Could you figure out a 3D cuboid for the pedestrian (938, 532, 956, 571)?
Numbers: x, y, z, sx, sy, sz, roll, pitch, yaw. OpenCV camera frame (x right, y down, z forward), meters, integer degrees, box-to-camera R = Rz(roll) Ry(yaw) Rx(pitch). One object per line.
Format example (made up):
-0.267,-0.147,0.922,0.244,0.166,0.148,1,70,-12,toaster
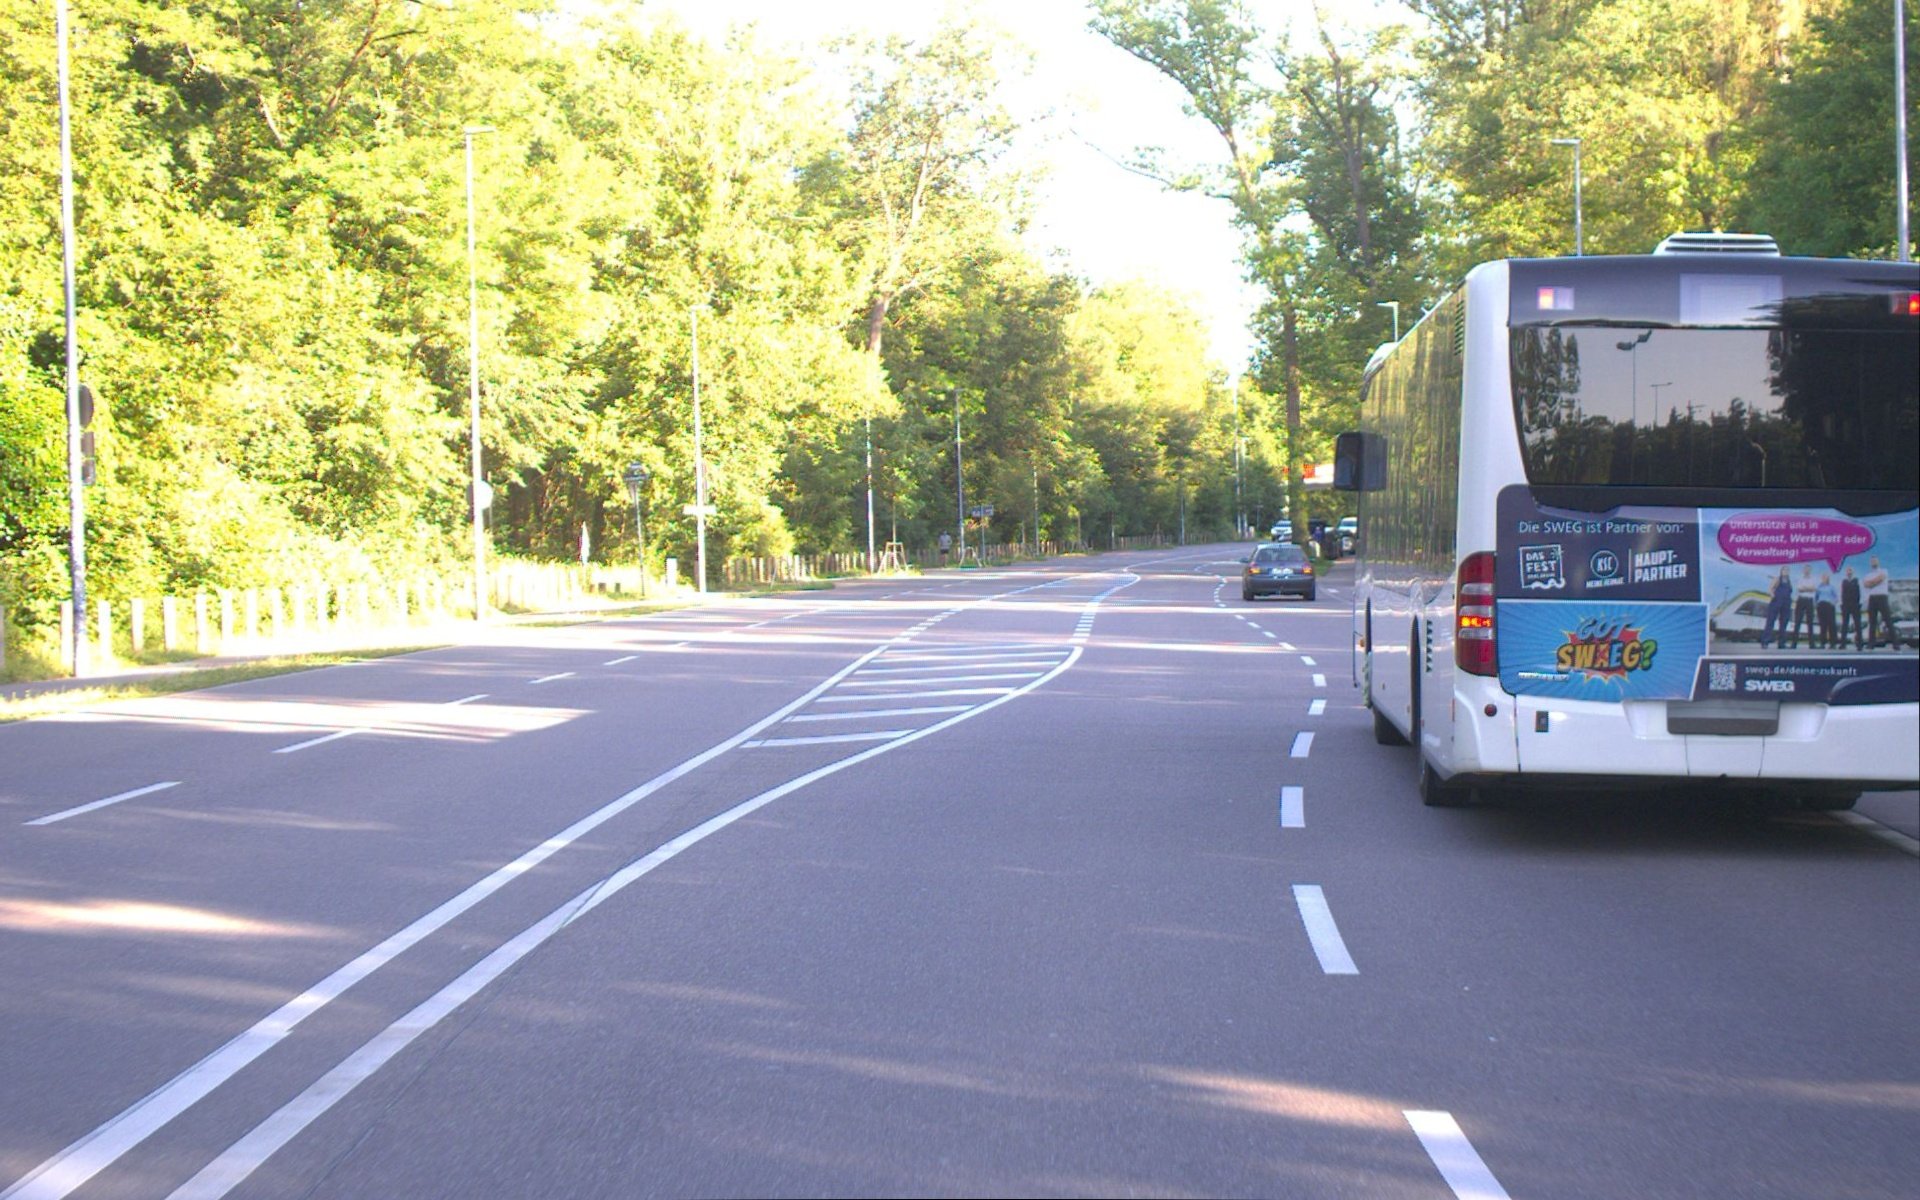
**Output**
-0.627,-2.305,162.963,0.779,1.806,0.770,0,1,4,pedestrian

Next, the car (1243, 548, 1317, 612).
7.982,-0.523,85.553,1.632,1.542,4.130,0,1,8,car

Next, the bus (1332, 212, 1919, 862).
3.984,-0.374,22.107,2.690,3.032,12.039,0,1,4,bus
